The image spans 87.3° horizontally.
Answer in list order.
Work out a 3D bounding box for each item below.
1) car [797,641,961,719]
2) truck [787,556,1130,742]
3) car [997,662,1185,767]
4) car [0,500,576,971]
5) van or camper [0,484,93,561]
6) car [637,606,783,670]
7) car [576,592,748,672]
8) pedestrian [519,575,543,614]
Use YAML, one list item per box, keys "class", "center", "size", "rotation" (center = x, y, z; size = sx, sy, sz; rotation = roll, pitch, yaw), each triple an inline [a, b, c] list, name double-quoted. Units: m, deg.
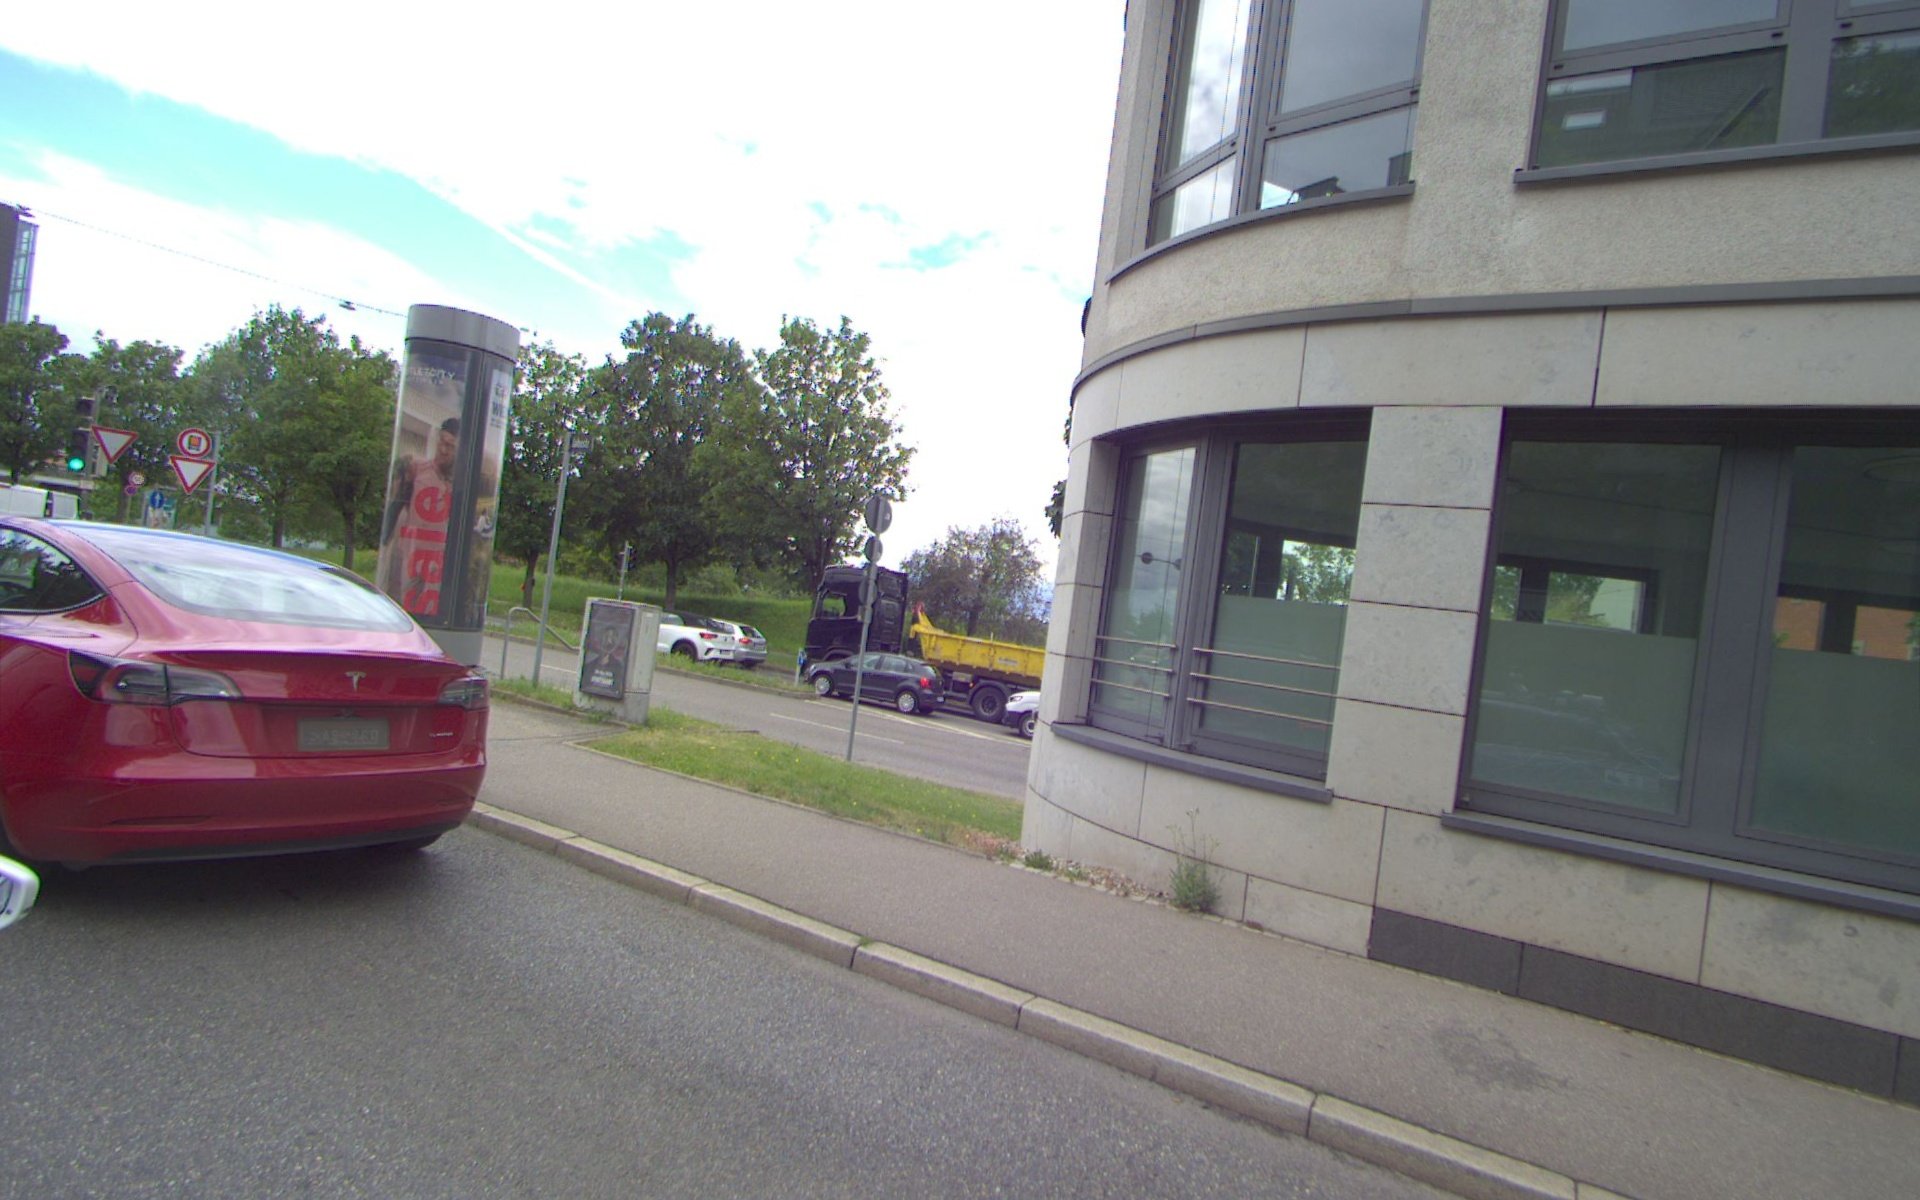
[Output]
- class: "car"
  center: [-2.153, 2.120, 26.866]
  size: [3.903, 1.389, 1.656]
  rotation: [8, -2, 19]
- class: "truck"
  center: [-0.046, 1.362, 29.724]
  size: [9.280, 3.969, 2.832]
  rotation: [8, -2, 18]
- class: "car"
  center: [3.272, 2.790, 25.008]
  size: [4.206, 1.817, 1.758]
  rotation: [9, -2, 17]
- class: "car"
  center: [-4.241, 0.316, 5.045]
  size: [4.367, 1.434, 1.878]
  rotation: [7, -2, 30]
- class: "van or camper"
  center: [-27.792, -2.353, 30.097]
  size: [1.981, 1.940, 4.371]
  rotation: [9, -1, -32]
- class: "car"
  center: [-8.156, 1.252, 32.928]
  size: [4.081, 1.458, 1.992]
  rotation: [8, -2, 19]
- class: "car"
  center: [-8.675, 0.946, 29.311]
  size: [4.404, 1.547, 1.858]
  rotation: [9, -2, 19]
- class: "pedestrian"
  center: [-18.516, -0.231, 43.448]
  size: [0.691, 1.626, 0.540]
  rotation: [9, 5, 33]
